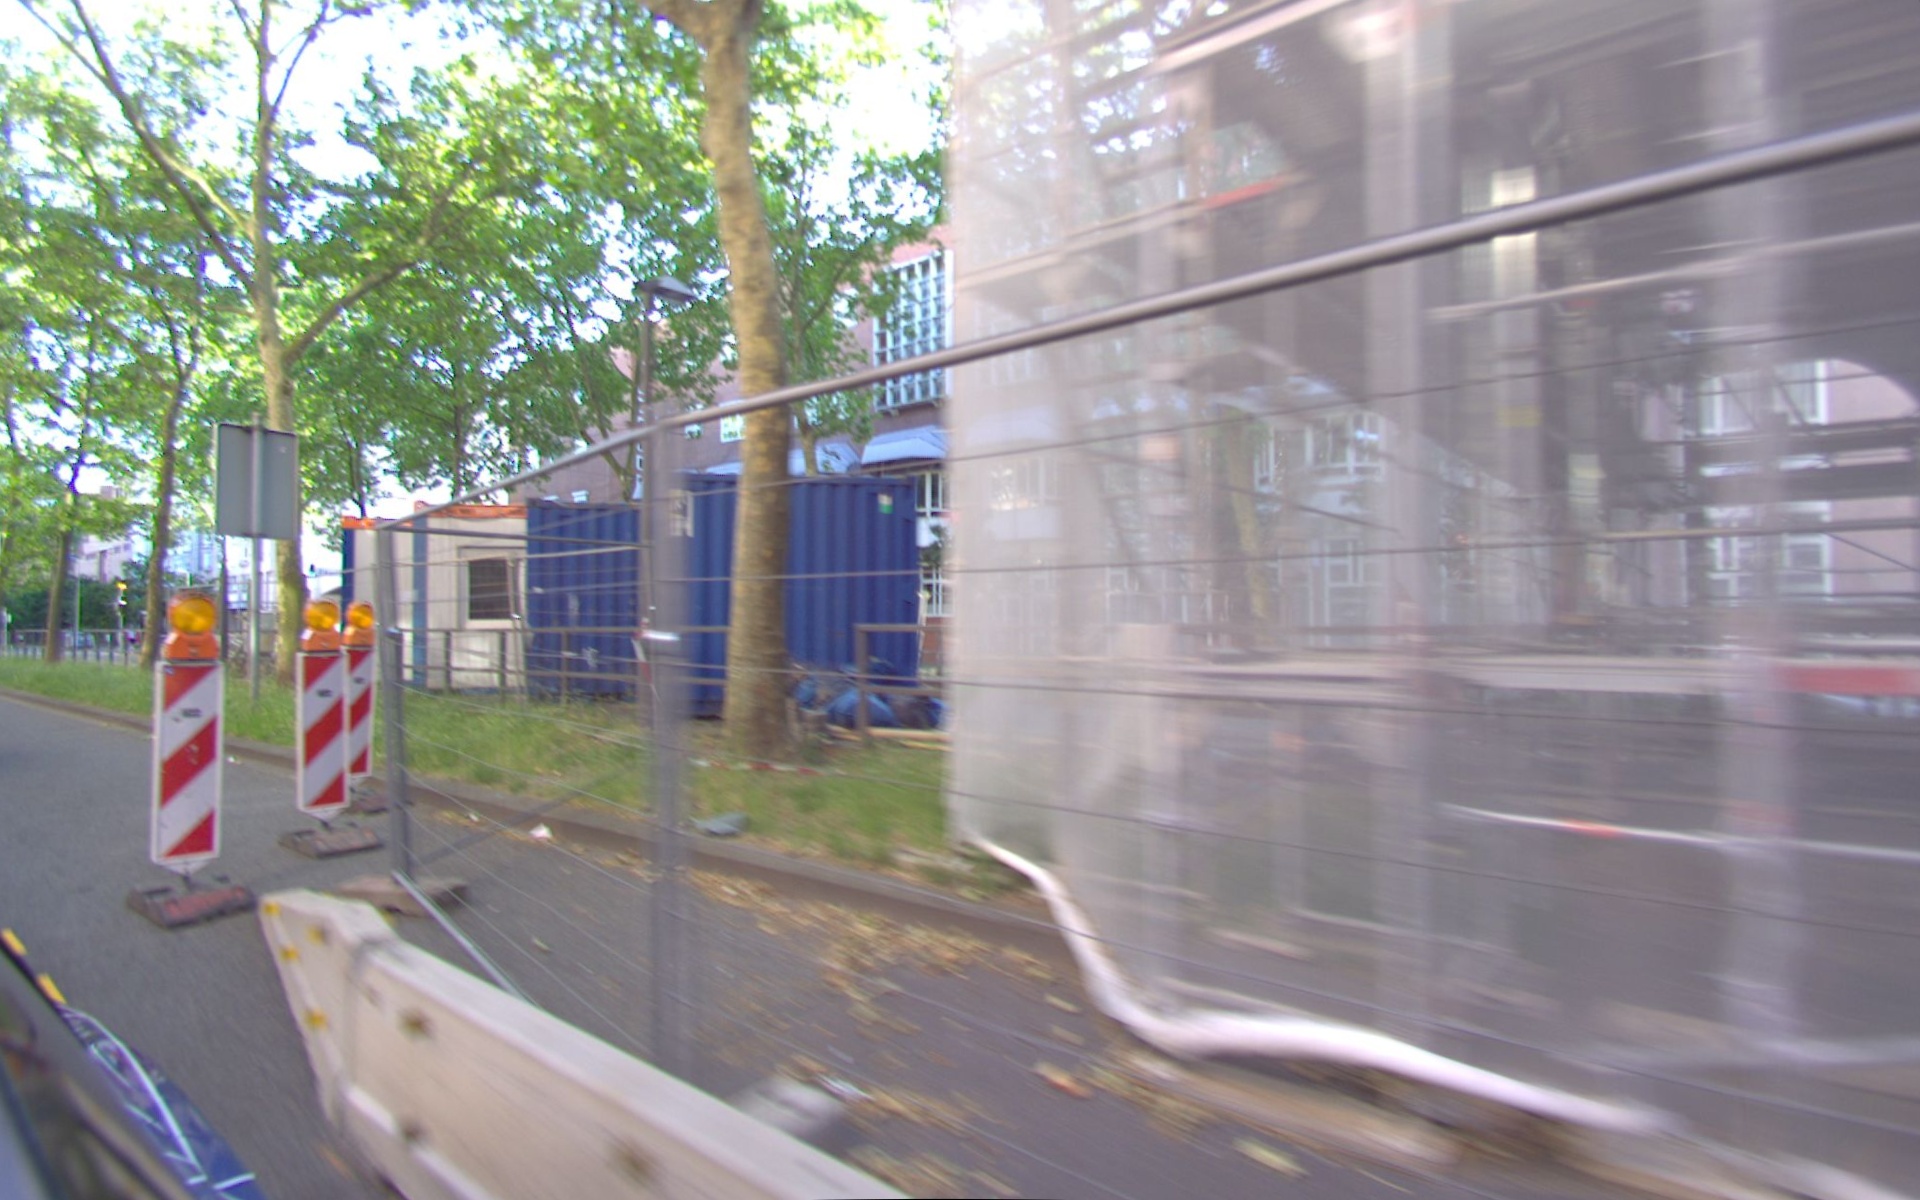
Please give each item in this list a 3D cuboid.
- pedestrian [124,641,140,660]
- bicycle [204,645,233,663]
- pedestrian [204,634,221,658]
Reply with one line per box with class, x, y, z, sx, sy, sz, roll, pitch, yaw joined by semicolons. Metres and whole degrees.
pedestrian;-73.600;4.508;89.946;0.876;1.613;0.992;-1;-1;44
bicycle;-57.604;4.193;78.655;1.798;1.271;0.772;-1;-1;9
pedestrian;-66.054;4.076;89.459;0.875;2.029;0.993;-1;-1;40
